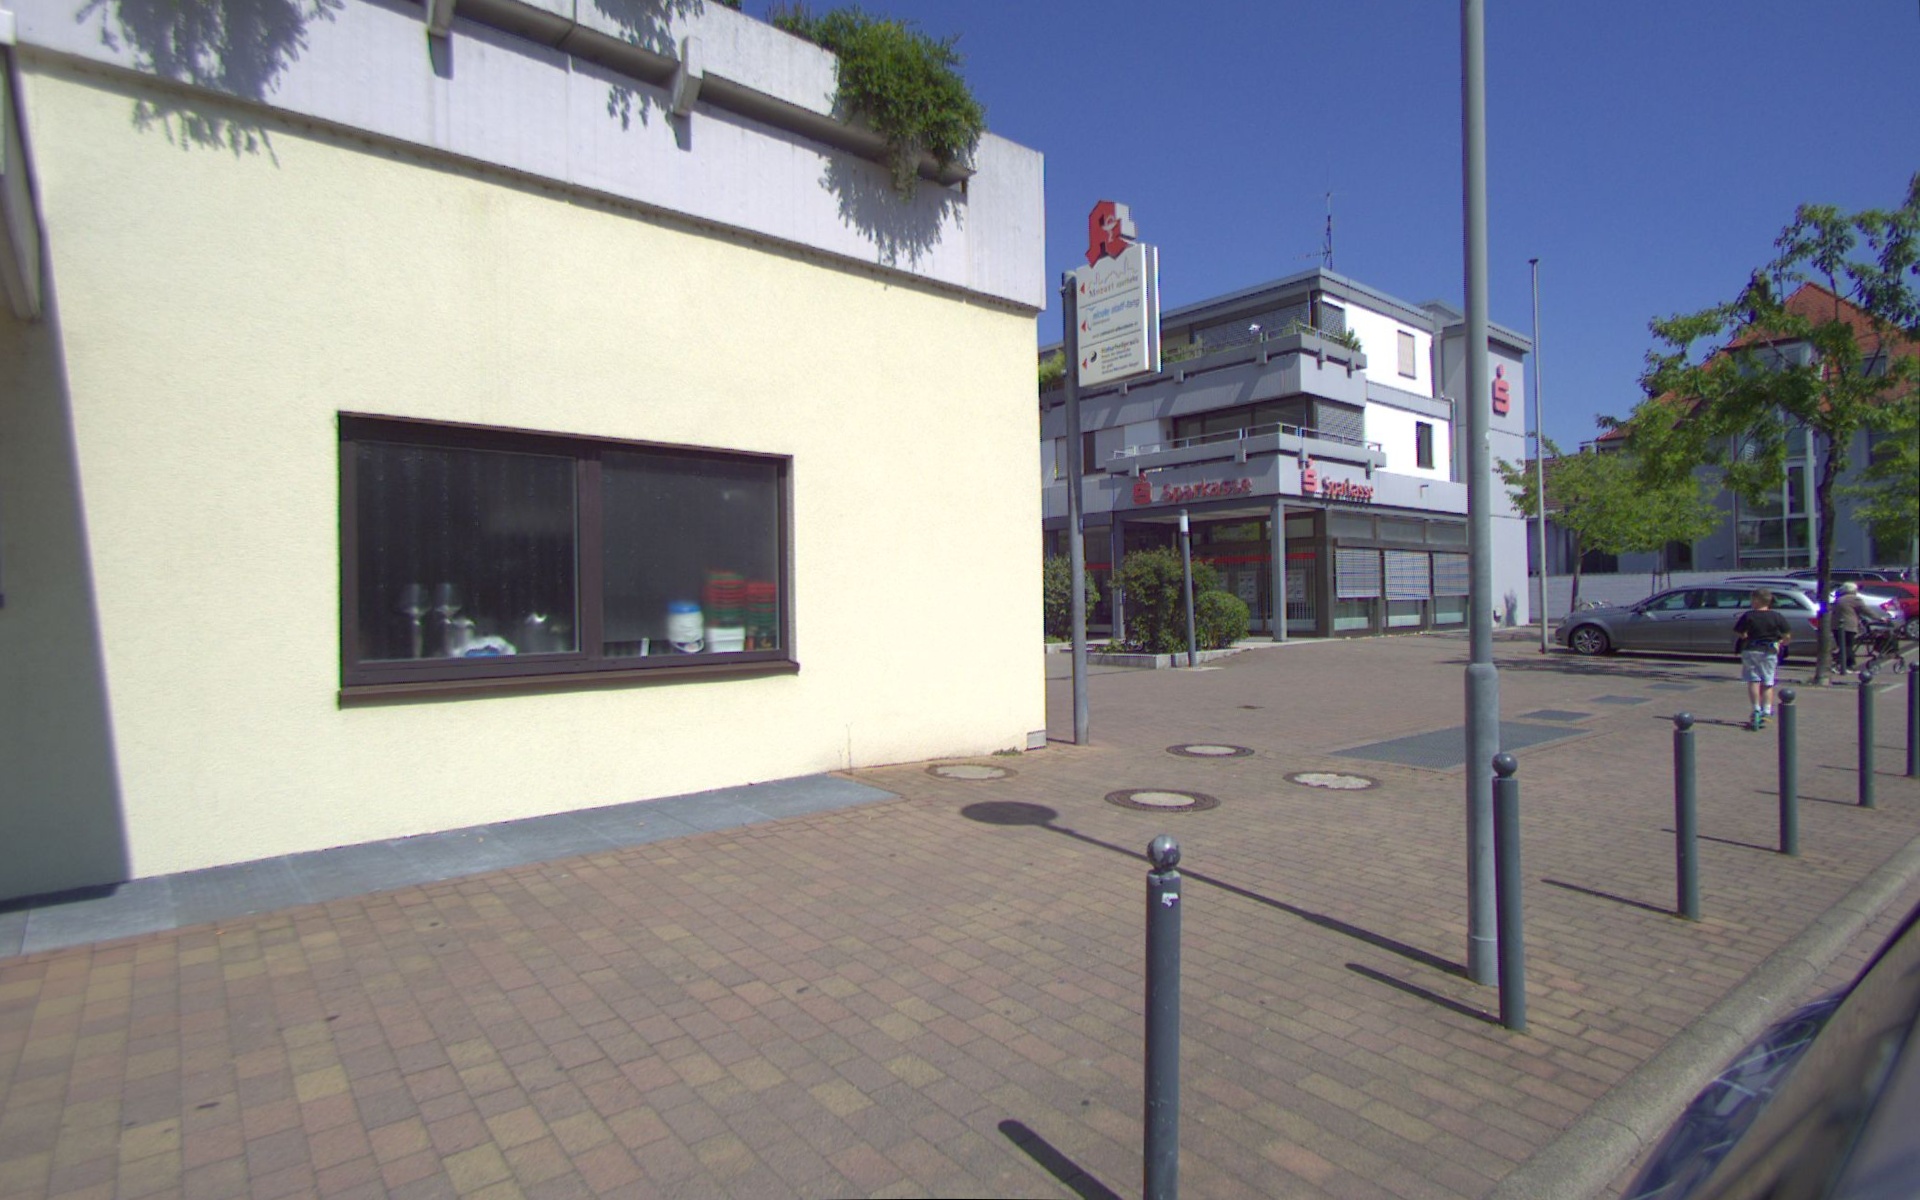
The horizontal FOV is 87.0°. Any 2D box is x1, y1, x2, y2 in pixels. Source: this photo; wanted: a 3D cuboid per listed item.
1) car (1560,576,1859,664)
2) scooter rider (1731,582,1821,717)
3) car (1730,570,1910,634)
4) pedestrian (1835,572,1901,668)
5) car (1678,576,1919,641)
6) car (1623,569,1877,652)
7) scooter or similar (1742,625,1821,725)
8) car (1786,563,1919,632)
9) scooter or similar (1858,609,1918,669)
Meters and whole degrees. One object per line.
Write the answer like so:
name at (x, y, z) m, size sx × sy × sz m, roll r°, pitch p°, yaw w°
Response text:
car at (14.299, 0.291, 19.530) m, size 1.662 × 1.483 × 4.437 m, roll -2°, pitch 2°, yaw -43°
scooter rider at (8.586, 0.488, 10.644) m, size 1.112 × 1.341 × 0.463 m, roll -1°, pitch 0°, yaw -37°
car at (22.304, 0.041, 26.331) m, size 1.465 × 1.571 × 3.425 m, roll -1°, pitch 0°, yaw -42°
pedestrian at (14.725, 0.318, 16.419) m, size 0.709 × 1.520 × 0.533 m, roll -1°, pitch 0°, yaw -23°
car at (20.383, 0.144, 24.746) m, size 4.434 × 1.460 × 1.630 m, roll 1°, pitch 2°, yaw 45°
car at (16.503, 0.162, 21.283) m, size 1.685 × 1.579 × 4.037 m, roll -1°, pitch 2°, yaw -44°
scooter or similar at (8.608, 0.763, 10.603) m, size 0.942 × 0.977 × 0.412 m, roll 0°, pitch 0°, yaw -36°
car at (24.266, -0.092, 27.227) m, size 1.322 × 1.759 × 3.035 m, roll -1°, pitch 1°, yaw -43°
scooter or similar at (15.266, 0.628, 16.650) m, size 0.535 × 0.957 × 0.537 m, roll -1°, pitch 0°, yaw -22°
